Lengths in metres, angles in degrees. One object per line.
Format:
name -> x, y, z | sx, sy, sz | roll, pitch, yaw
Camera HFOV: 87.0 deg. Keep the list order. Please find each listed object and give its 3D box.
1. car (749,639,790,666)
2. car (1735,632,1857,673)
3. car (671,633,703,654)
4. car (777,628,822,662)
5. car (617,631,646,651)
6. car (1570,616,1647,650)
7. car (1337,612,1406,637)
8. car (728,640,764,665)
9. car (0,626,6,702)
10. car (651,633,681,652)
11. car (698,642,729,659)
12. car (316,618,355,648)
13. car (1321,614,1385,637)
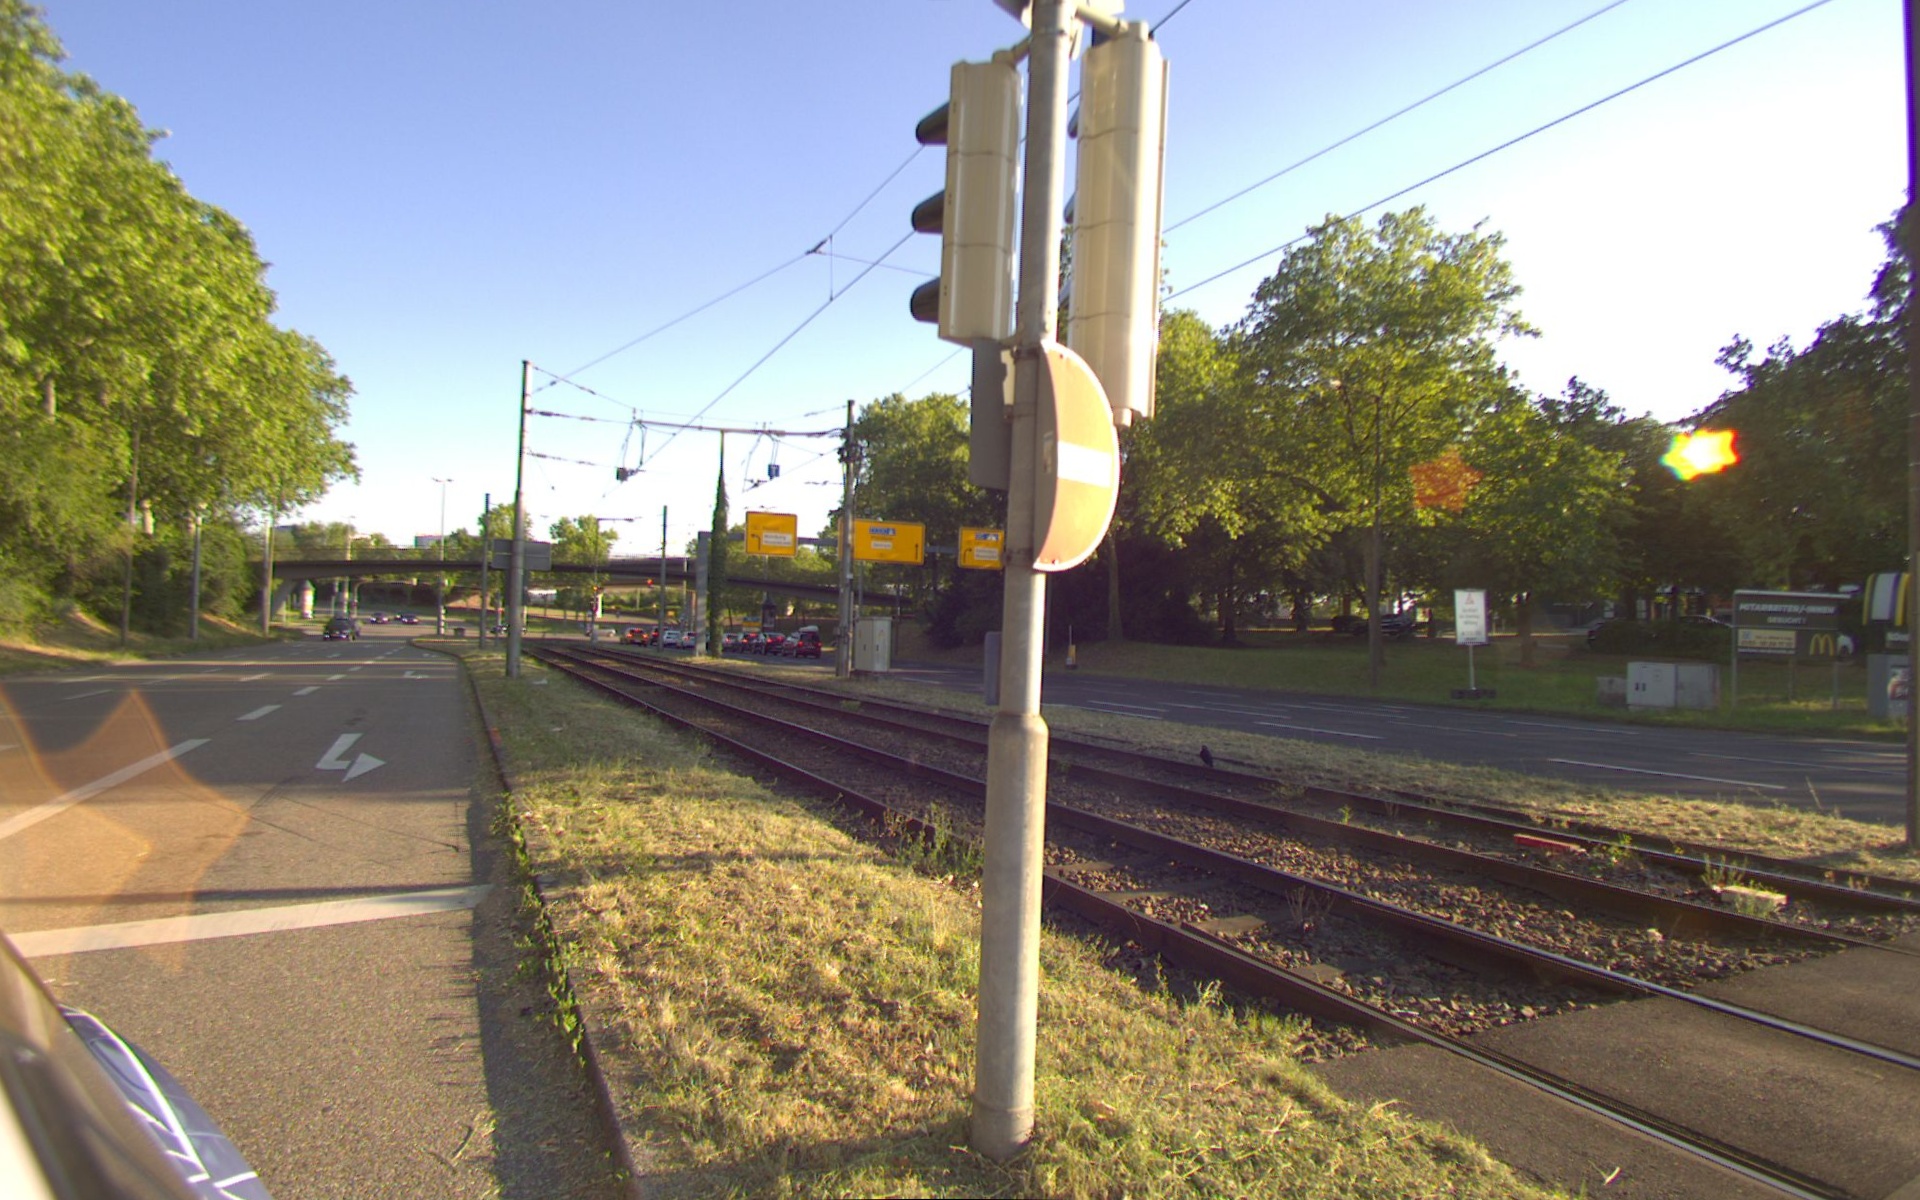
car -> -13.580, 3.707, 71.897 | 1.767, 1.763, 4.254 | 1, -1, -26
car -> 36.657, 2.279, 44.358 | 4.814, 1.719, 2.006 | 1, -1, -21
car -> -21.893, 3.459, 81.048 | 1.639, 1.577, 4.204 | 1, -1, -26
car -> -10.563, 2.927, 66.324 | 1.767, 2.121, 4.013 | 1, -1, -27
car -> -26.737, 3.295, 82.256 | 1.639, 1.577, 4.013 | 1, -1, -26
car -> 33.100, 1.680, 51.631 | 4.155, 1.701, 1.832 | 2, -2, -35
car -> 26.732, 1.596, 65.719 | 3.931, 1.564, 1.813 | 1, -2, -21
car -> -16.444, 4.019, 77.594 | 1.767, 1.763, 4.013 | 1, -2, -26
car -> -18.072, 1.171, 17.179 | 1.602, 1.453, 3.998 | 1, -1, -27
car -> -25.334, 3.663, 87.122 | 1.717, 1.443, 4.426 | 4, -3, -24
car -> -22.055, 4.518, 90.555 | 1.767, 1.393, 4.491 | 1, -1, -26
car -> -46.256, 2.435, 75.080 | 1.965, 2.179, 4.204 | 1, -2, -25
car -> 28.112, 1.817, 72.441 | 3.934, 1.564, 1.812 | 1, -2, -11
